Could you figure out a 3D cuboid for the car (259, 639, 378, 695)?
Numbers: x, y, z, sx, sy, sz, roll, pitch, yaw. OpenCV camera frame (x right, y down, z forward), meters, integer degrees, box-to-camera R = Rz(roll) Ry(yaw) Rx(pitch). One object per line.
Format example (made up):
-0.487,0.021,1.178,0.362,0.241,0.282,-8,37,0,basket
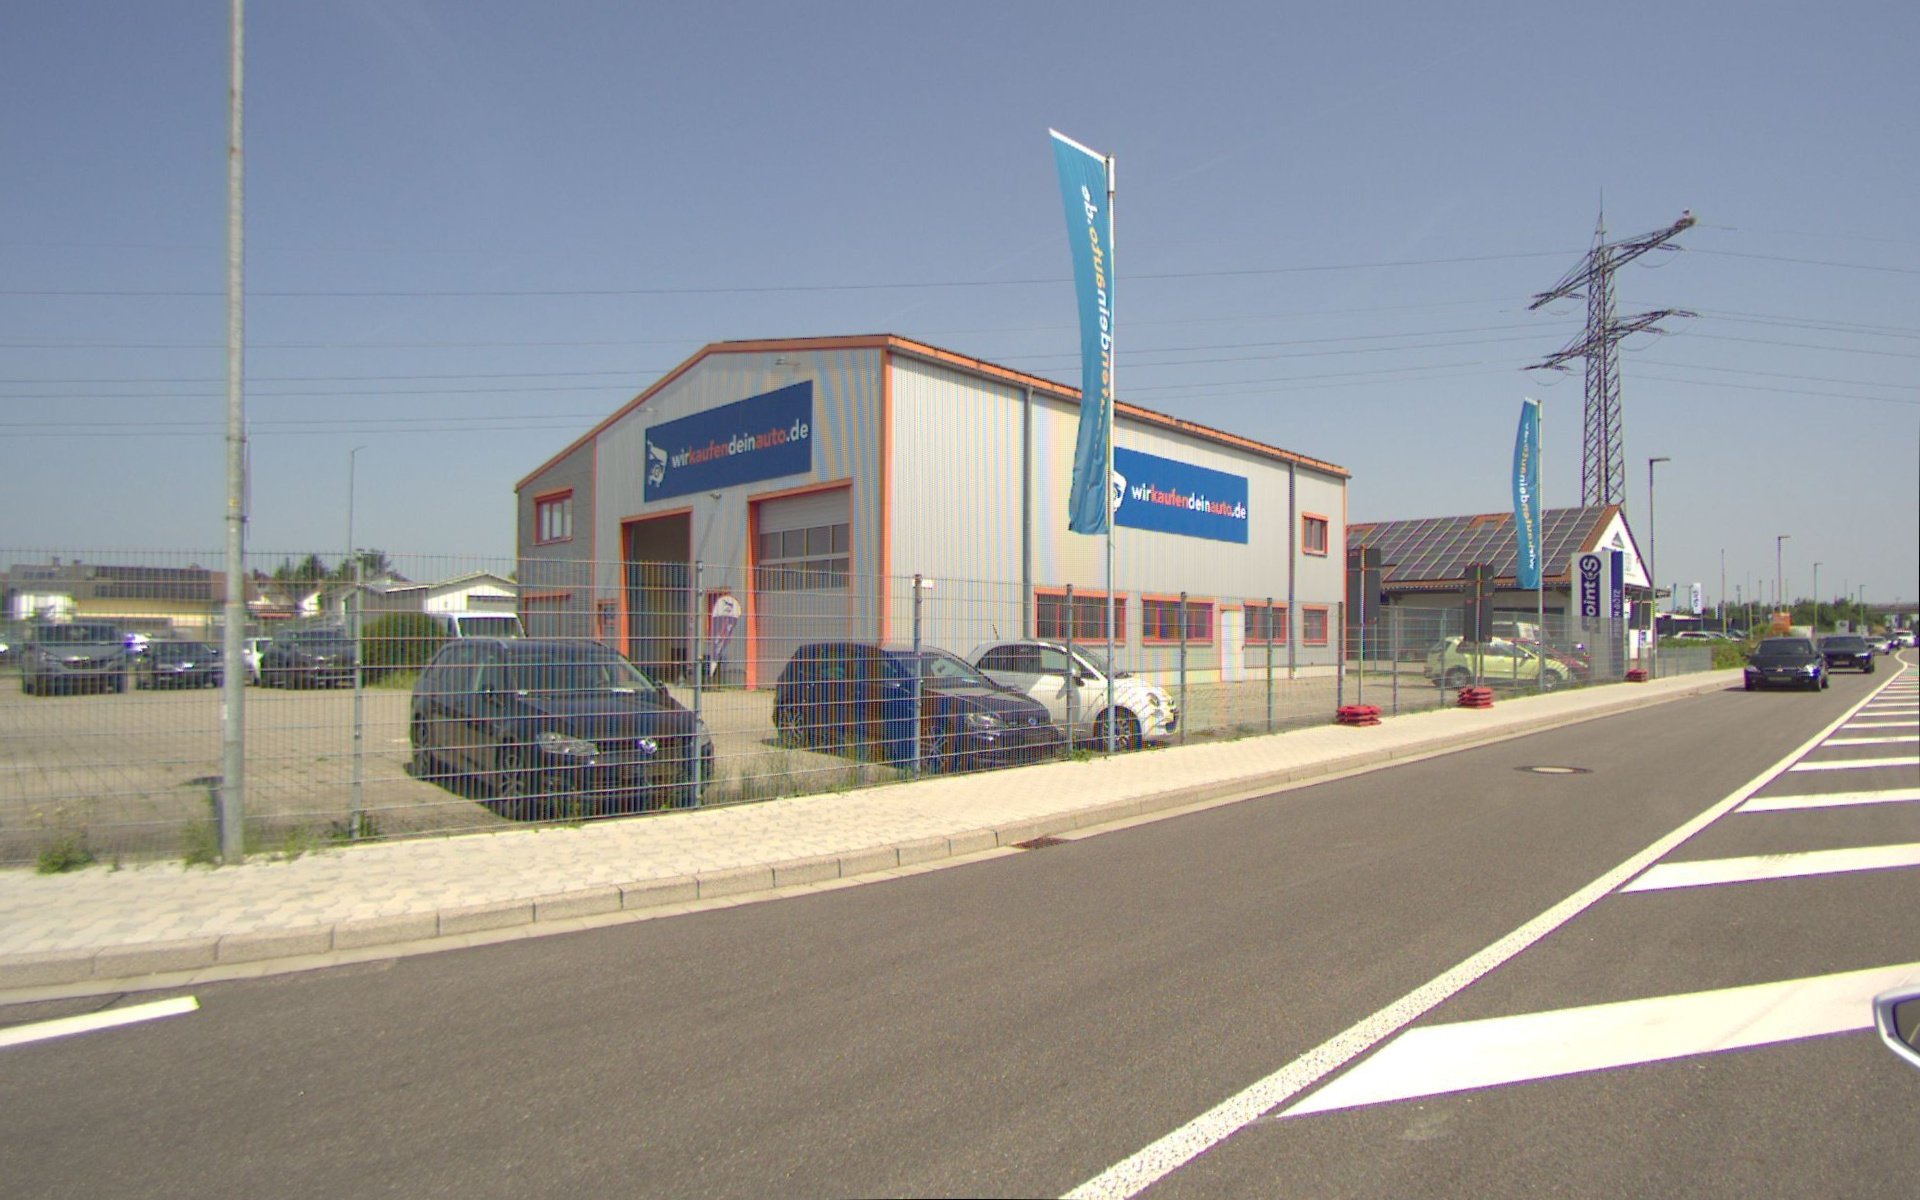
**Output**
-18.067,1.830,28.211,4.019,1.439,1.864,-2,-3,43,car

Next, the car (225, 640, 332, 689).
-21.395,1.983,31.471,4.141,1.439,1.888,-2,-3,43,car

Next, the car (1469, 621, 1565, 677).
21.612,1.896,38.894,4.650,2.040,1.974,3,-4,-44,car

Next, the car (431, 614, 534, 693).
-14.645,1.598,30.702,1.982,2.224,4.276,1,-3,-38,car

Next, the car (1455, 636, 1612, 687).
17.842,1.894,31.445,3.919,1.513,1.745,0,-2,13,car

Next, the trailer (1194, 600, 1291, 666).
13.081,1.552,46.355,2.140,2.886,5.093,0,-2,44,trailer

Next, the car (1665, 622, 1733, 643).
59.630,2.611,81.107,4.179,1.475,1.754,2,0,44,car

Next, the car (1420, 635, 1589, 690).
15.942,1.801,29.577,4.010,1.513,1.745,0,-2,10,car

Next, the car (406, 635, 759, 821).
-3.961,1.137,10.240,3.943,1.522,1.766,-2,-3,42,car

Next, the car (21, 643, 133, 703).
-24.572,1.975,27.916,3.940,1.522,1.767,-2,-2,40,car

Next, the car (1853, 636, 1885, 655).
73.990,3.684,81.751,1.746,1.485,4.234,-4,-4,43,car

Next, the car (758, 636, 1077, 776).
-0.634,1.248,12.960,3.938,1.522,1.768,-2,-3,38,car

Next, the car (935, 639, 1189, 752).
1.512,1.326,14.707,3.418,1.484,1.590,0,-2,20,car

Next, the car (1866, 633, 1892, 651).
86.884,3.991,94.963,1.652,1.621,3.948,-4,-4,44,car

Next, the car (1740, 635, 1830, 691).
25.296,1.908,30.765,1.724,1.614,3.773,-5,-5,44,car

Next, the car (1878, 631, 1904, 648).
103.806,4.434,112.034,1.971,1.898,5.142,-3,-4,42,car

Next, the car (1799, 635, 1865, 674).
39.259,2.425,45.177,4.493,1.637,1.863,2,-5,-45,car

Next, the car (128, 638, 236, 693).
-23.320,1.920,30.061,3.940,1.522,1.767,-2,-2,40,car
